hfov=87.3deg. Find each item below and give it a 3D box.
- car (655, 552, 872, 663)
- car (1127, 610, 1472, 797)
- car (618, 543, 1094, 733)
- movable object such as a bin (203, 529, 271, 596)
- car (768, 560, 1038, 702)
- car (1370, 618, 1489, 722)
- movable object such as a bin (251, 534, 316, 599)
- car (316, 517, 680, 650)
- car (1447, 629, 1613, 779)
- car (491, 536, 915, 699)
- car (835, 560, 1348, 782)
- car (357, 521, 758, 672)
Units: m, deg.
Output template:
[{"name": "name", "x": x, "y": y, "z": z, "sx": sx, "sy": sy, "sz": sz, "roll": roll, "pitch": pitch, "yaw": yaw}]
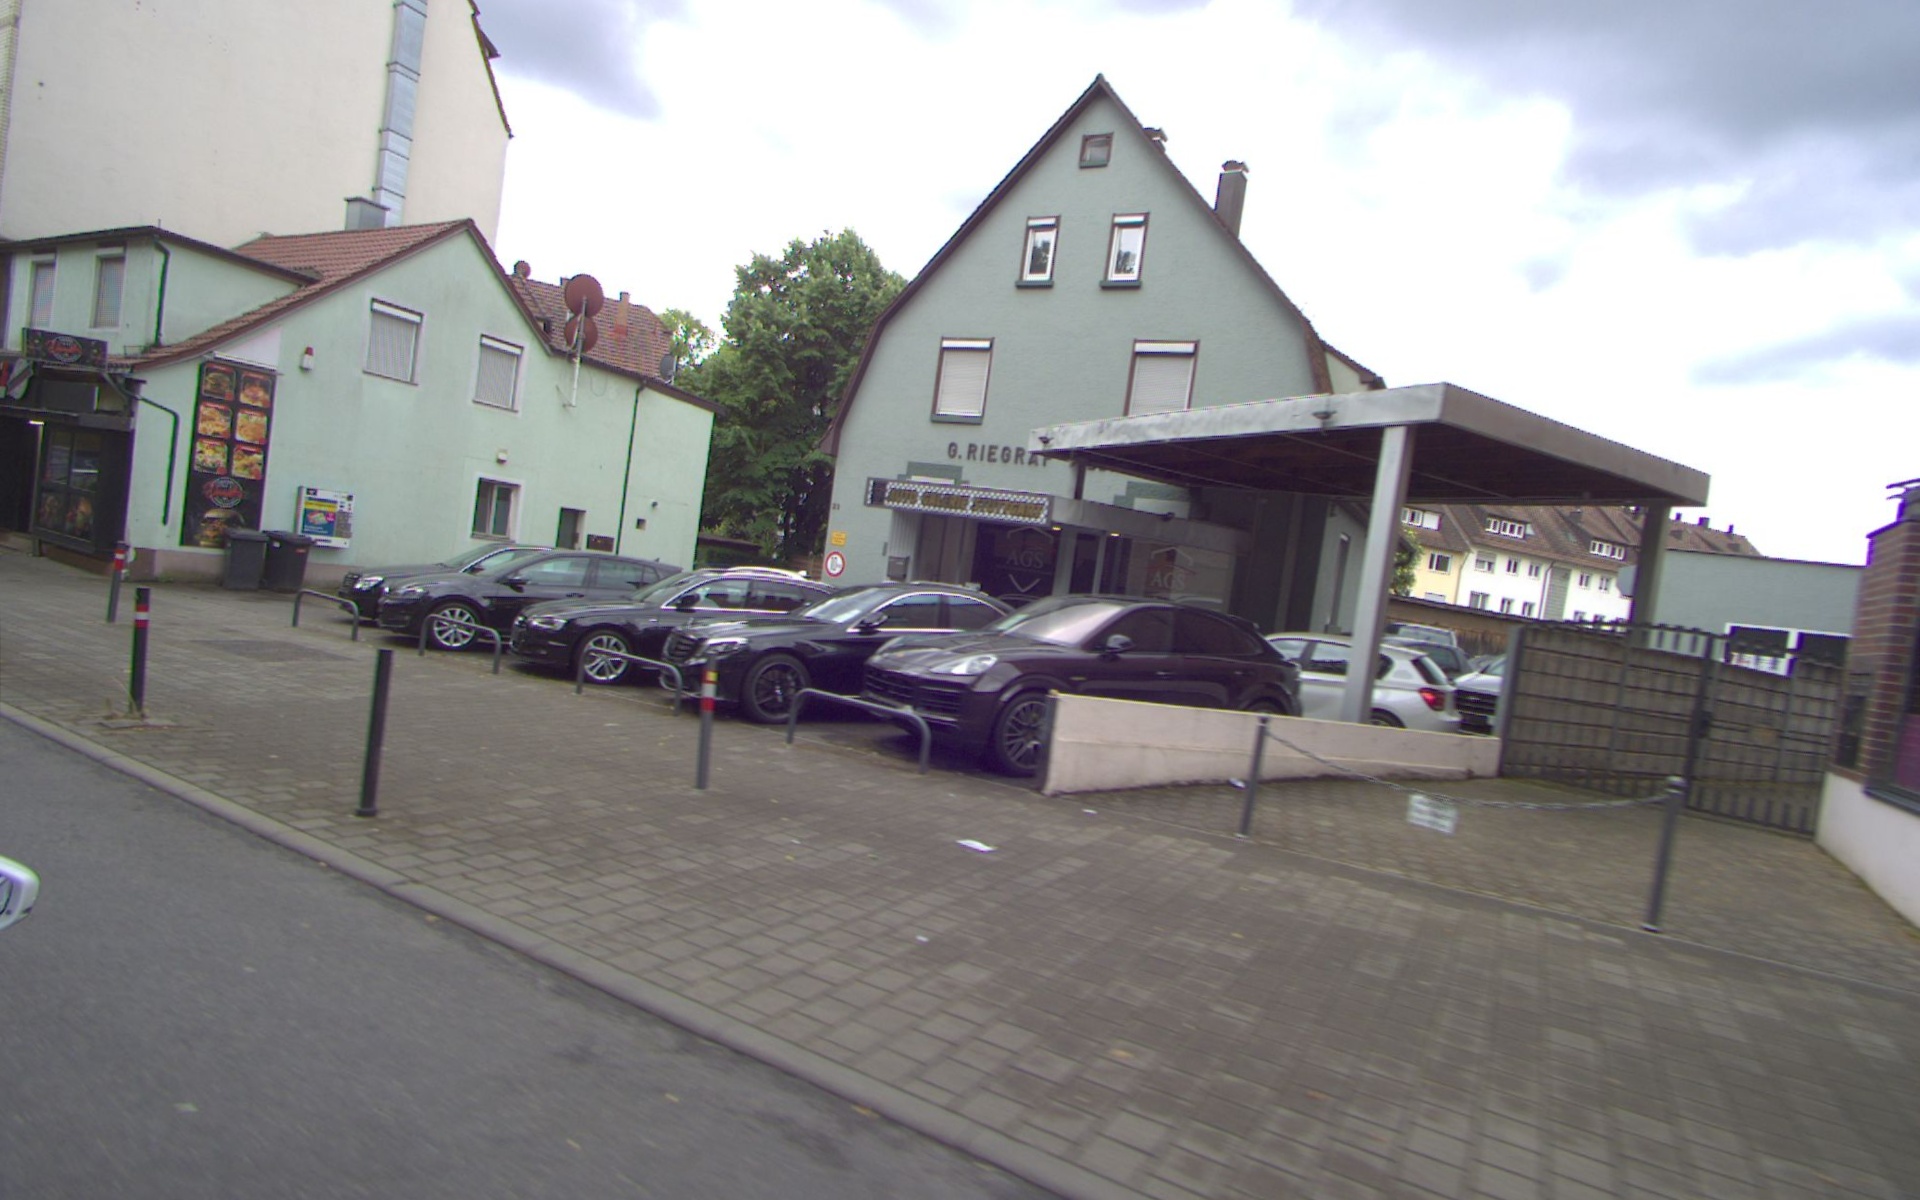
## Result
[{"name": "car", "x": -3.899, "y": 0.151, "z": 20.327, "sx": 3.817, "sy": 1.686, "sz": 1.718, "roll": 7, "pitch": 1, "yaw": 5}, {"name": "car", "x": 4.359, "y": 1.230, "z": 13.032, "sx": 3.825, "sy": 1.686, "sz": 1.715, "roll": 7, "pitch": 1, "yaw": 30}, {"name": "car", "x": -1.077, "y": 0.472, "z": 11.349, "sx": 4.867, "sy": 1.559, "sz": 1.983, "roll": 7, "pitch": 0, "yaw": -31}, {"name": "movable object such as a bin", "x": -12.570, "y": -0.651, "z": 17.491, "sx": 0.634, "sy": 1.054, "sz": 0.699, "roll": 7, "pitch": 1, "yaw": 32}, {"name": "car", "x": -0.932, "y": 0.453, "z": 15.927, "sx": 3.825, "sy": 1.686, "sz": 1.715, "roll": 7, "pitch": 1, "yaw": 30}, {"name": "car", "x": 10.192, "y": 1.498, "z": 21.687, "sx": 1.690, "sy": 1.845, "sz": 3.882, "roll": 7, "pitch": 0, "yaw": 32}, {"name": "movable object such as a bin", "x": -12.208, "y": -0.605, "z": 18.151, "sx": 0.634, "sy": 1.054, "sz": 0.699, "roll": 7, "pitch": 1, "yaw": 32}, {"name": "car", "x": -7.216, "y": -0.213, "z": 16.028, "sx": 4.880, "sy": 1.487, "sz": 1.908, "roll": 7, "pitch": 0, "yaw": -39}, {"name": "car", "x": 8.333, "y": 1.439, "z": 14.630, "sx": 1.690, "sy": 1.686, "sz": 3.882, "roll": 7, "pitch": 0, "yaw": 32}, {"name": "car", "x": -3.182, "y": 0.276, "z": 12.960, "sx": 4.872, "sy": 1.511, "sz": 1.837, "roll": 7, "pitch": 0, "yaw": -35}, {"name": "car", "x": 1.429, "y": 0.696, "z": 10.113, "sx": 4.865, "sy": 1.695, "sz": 1.982, "roll": 4, "pitch": 2, "yaw": -32}, {"name": "car", "x": -5.541, "y": -0.008, "z": 14.126, "sx": 4.870, "sy": 1.487, "sz": 1.912, "roll": 7, "pitch": 0, "yaw": -33}]
